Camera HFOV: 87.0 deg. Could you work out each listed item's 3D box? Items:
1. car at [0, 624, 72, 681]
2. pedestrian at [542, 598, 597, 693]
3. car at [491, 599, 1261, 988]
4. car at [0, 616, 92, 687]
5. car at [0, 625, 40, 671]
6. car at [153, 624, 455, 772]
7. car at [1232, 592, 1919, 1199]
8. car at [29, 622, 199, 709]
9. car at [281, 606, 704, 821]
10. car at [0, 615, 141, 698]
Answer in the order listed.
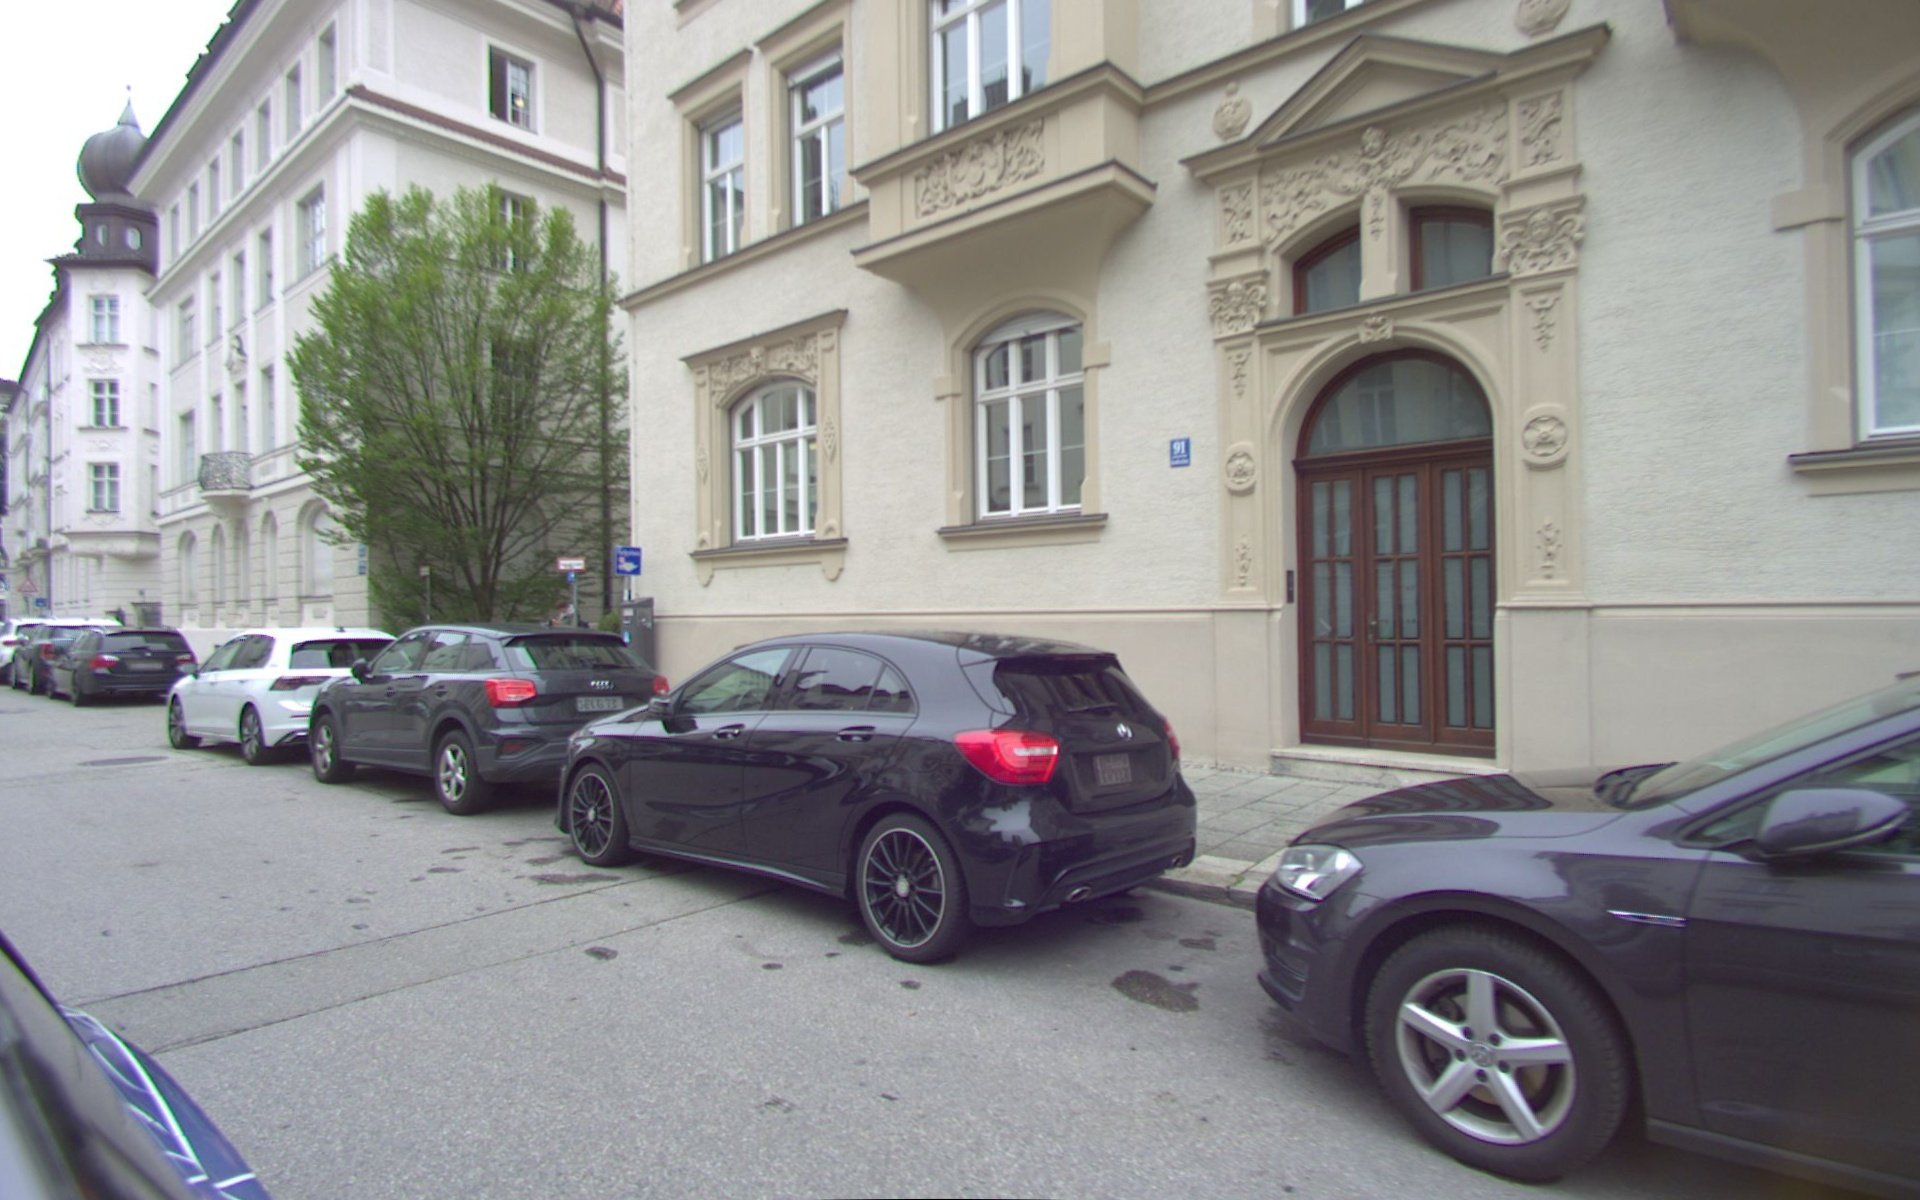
[{"bbox_3d":[-27.419,1.488,29.313,4.251,1.553,1.765,-1,-3,38],"label":"car"},{"bbox_3d":[-6.886,0.790,17.835,0.630,1.638,0.667,-2,-1,38],"label":"pedestrian"},{"bbox_3d":[-0.781,0.800,5.945,4.549,1.445,1.815,-2,-3,40],"label":"car"},{"bbox_3d":[-23.712,1.284,25.739,4.569,1.631,1.895,-2,-1,42],"label":"car"},{"bbox_3d":[-30.981,1.510,32.369,4.276,1.426,1.774,-1,-3,41],"label":"car"},{"bbox_3d":[-7.887,1.042,12.018,4.240,1.445,1.818,-2,-3,40],"label":"car"},{"bbox_3d":[3.015,0.731,2.385,4.243,1.447,1.817,-2,-4,42],"label":"car"},{"bbox_3d":[-16.033,1.166,19.108,4.364,1.423,1.768,-2,-1,41],"label":"car"},{"bbox_3d":[-4.432,0.907,9.299,4.380,1.530,1.752,-2,-4,39],"label":"car"},{"bbox_3d":[-19.623,1.187,22.216,4.242,1.631,1.817,-2,-1,41],"label":"car"}]
